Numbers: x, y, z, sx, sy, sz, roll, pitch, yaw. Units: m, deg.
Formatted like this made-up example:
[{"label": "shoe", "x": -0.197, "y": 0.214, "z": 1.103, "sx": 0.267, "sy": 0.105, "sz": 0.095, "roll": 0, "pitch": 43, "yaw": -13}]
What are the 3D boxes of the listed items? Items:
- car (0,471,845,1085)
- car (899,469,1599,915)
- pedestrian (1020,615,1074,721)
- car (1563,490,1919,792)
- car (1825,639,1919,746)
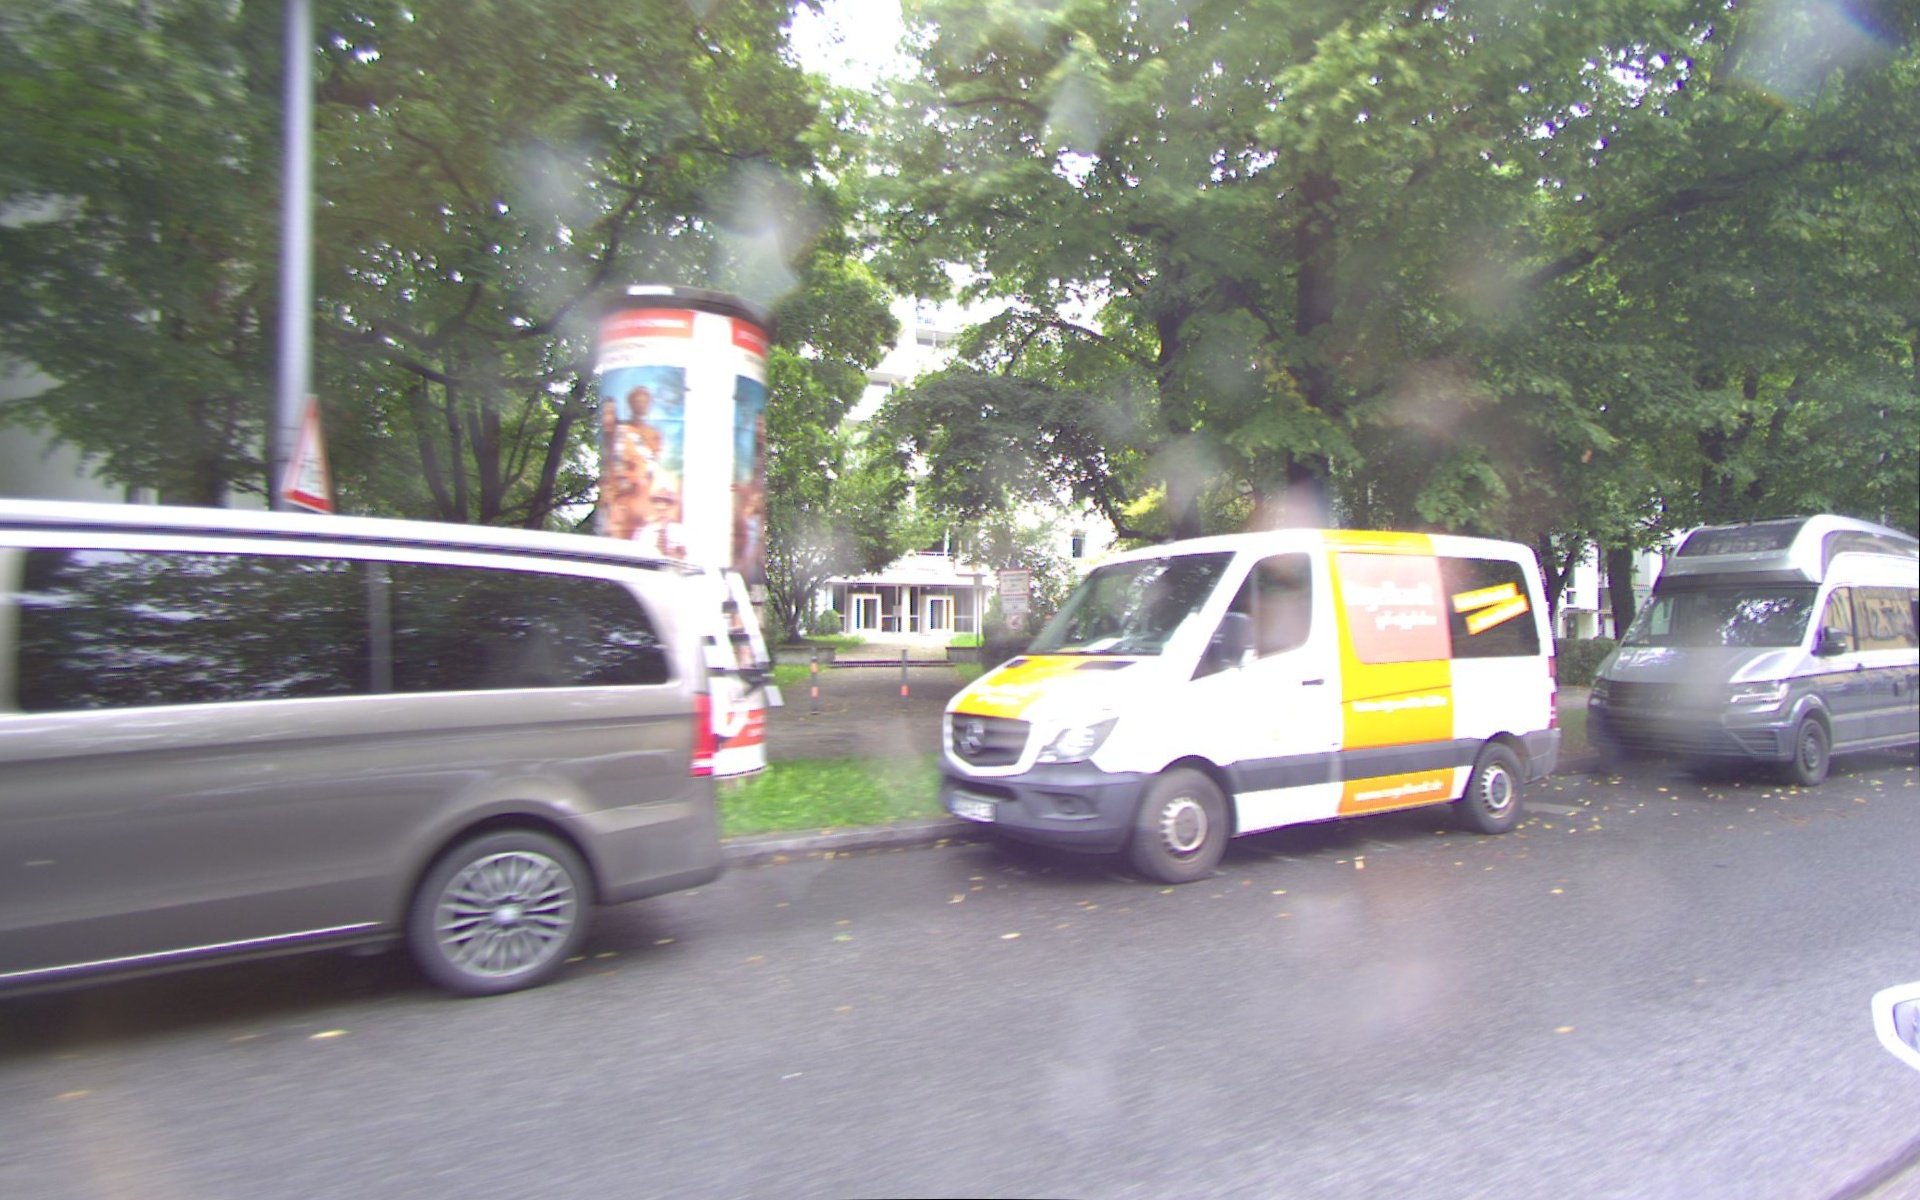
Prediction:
[{"label": "car", "x": -3.344, "y": 0.617, "z": 4.271, "sx": 5.398, "sy": 1.989, "sz": 1.935, "roll": 1, "pitch": -3, "yaw": -32}, {"label": "car", "x": 2.379, "y": 0.557, "z": 7.674, "sx": 5.347, "sy": 2.379, "sz": 2.103, "roll": 1, "pitch": -2, "yaw": -32}, {"label": "pedestrian", "x": 1.310, "y": 1.014, "z": 15.244, "sx": 0.531, "sy": 1.569, "sz": 0.643, "roll": 1, "pitch": -1, "yaw": -29}, {"label": "car", "x": 9.883, "y": 0.532, "z": 12.063, "sx": 6.166, "sy": 2.892, "sz": 1.935, "roll": 3, "pitch": -2, "yaw": -32}, {"label": "car", "x": 15.142, "y": 1.321, "z": 15.123, "sx": 4.523, "sy": 1.457, "sz": 1.782, "roll": 1, "pitch": -2, "yaw": -29}]
